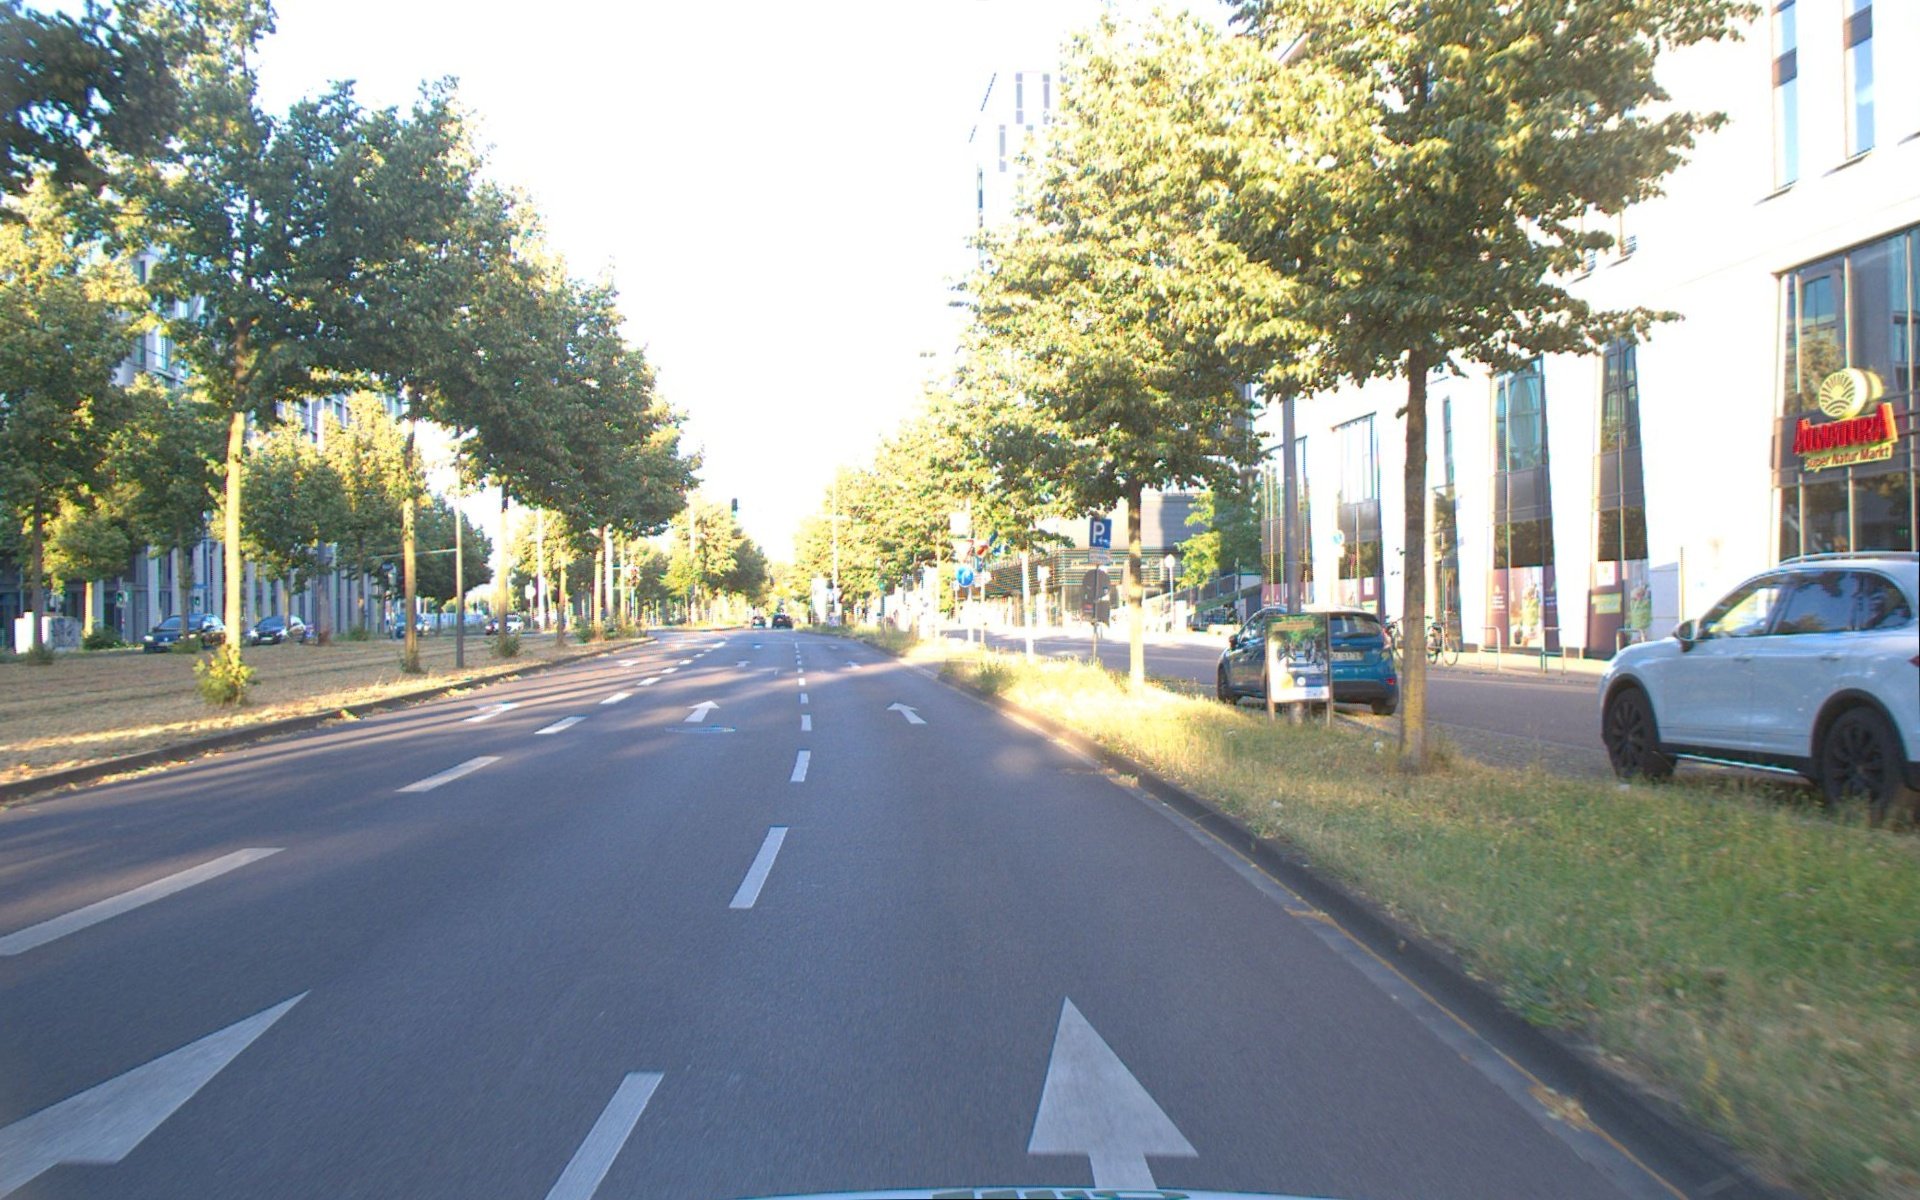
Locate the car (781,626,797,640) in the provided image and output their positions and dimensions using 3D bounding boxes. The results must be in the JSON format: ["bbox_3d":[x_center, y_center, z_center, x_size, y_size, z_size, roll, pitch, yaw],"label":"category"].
[{"bbox_3d":[-21.289,4.081,205.654,1.836,1.601,3.673,-1,0,-5],"label":"car"}]

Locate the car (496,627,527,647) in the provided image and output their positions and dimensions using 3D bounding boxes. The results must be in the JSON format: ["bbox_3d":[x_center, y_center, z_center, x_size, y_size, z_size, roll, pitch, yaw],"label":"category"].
[{"bbox_3d":[-33.046,2.712,121.971,1.753,1.355,3.665,-1,0,-8],"label":"car"}]

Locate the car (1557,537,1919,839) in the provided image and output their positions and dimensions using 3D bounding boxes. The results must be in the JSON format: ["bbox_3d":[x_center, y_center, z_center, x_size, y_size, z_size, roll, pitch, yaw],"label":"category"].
[{"bbox_3d":[6.315,0.542,11.802,1.913,1.744,5.153,1,-1,-5],"label":"car"}]

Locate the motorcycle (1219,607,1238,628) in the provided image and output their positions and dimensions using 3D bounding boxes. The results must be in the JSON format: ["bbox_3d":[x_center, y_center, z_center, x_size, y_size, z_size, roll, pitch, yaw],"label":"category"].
[{"bbox_3d":[14.388,0.939,88.672,0.637,1.113,2.332,-1,-1,0],"label":"motorcycle"}]

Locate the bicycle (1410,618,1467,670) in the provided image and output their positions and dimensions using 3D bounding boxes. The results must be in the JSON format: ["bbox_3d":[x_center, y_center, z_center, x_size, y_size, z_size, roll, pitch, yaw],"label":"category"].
[{"bbox_3d":[10.503,0.961,36.357,0.508,1.079,1.958,-3,-1,-4],"label":"bicycle"}]

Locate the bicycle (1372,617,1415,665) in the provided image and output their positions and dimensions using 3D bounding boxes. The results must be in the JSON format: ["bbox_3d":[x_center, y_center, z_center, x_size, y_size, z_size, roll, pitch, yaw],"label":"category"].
[{"bbox_3d":[10.274,0.955,39.256,0.437,1.091,1.773,-3,-1,-2],"label":"bicycle"}]

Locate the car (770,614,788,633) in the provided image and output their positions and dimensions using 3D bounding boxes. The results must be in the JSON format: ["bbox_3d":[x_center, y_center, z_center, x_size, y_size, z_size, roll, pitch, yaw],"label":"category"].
[{"bbox_3d":[-20.250,2.637,185.439,1.955,2.049,3.994,-1,0,-7],"label":"car"}]

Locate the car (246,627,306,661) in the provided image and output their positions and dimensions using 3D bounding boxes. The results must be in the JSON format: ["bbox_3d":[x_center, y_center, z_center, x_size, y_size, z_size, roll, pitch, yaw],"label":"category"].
[{"bbox_3d":[-32.570,2.064,78.853,1.626,1.528,4.182,-1,0,-8],"label":"car"}]

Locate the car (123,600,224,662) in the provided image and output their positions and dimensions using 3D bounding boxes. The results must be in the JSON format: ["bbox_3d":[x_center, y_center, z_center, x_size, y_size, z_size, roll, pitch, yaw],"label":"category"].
[{"bbox_3d":[-27.226,1.058,57.353,1.956,2.049,3.994,-1,-1,-7],"label":"car"}]

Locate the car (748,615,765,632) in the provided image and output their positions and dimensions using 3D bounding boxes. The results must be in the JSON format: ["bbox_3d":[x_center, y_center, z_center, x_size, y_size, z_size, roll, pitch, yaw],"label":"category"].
[{"bbox_3d":[-25.155,2.901,204.845,2.048,2.049,3.994,-1,0,-7],"label":"car"}]

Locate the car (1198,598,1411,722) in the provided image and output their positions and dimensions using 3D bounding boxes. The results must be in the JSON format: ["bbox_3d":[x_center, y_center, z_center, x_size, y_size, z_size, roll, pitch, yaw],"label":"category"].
[{"bbox_3d":[4.700,0.790,23.182,1.691,1.556,4.262,1,-1,-6],"label":"car"}]

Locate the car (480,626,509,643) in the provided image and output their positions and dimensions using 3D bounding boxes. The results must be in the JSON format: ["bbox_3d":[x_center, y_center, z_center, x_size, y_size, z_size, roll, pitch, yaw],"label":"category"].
[{"bbox_3d":[-38.544,2.858,137.000,1.626,1.355,4.519,-1,0,-8],"label":"car"}]

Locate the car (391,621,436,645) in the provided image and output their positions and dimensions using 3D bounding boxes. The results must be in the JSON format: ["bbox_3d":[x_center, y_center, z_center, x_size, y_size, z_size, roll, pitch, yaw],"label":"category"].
[{"bbox_3d":[-31.877,1.906,96.582,1.626,1.355,4.576,-1,0,-8],"label":"car"}]
